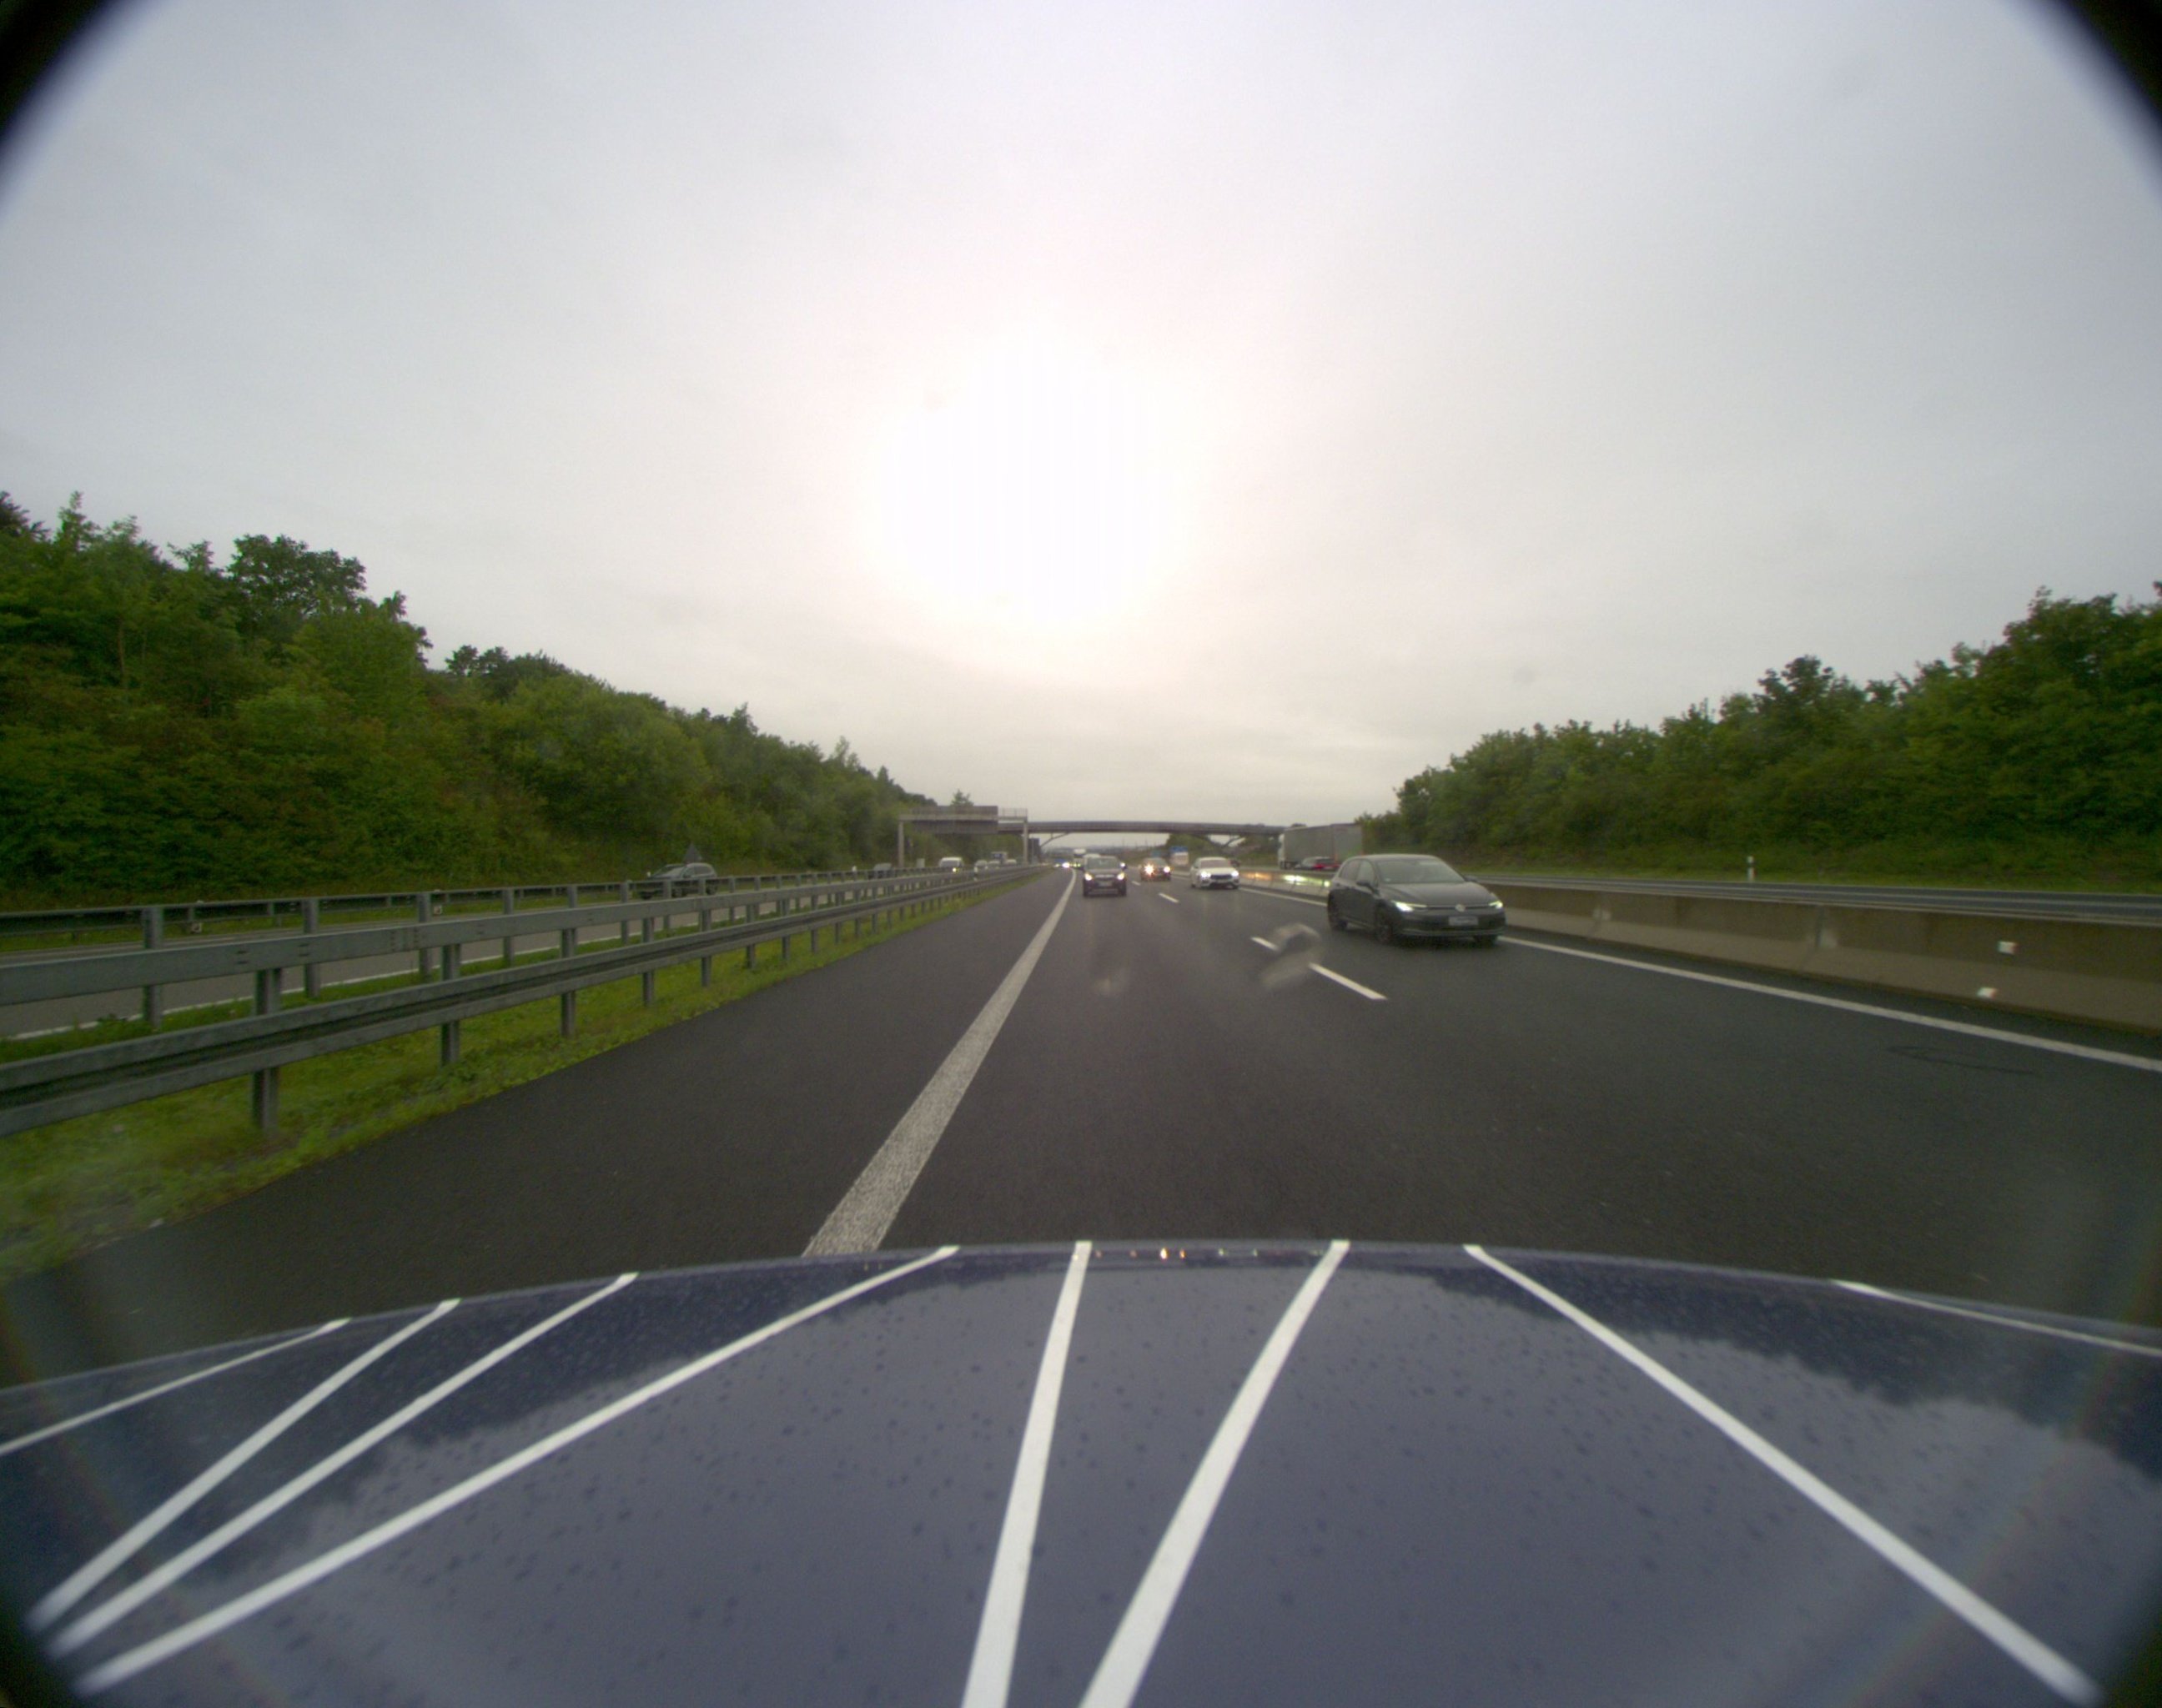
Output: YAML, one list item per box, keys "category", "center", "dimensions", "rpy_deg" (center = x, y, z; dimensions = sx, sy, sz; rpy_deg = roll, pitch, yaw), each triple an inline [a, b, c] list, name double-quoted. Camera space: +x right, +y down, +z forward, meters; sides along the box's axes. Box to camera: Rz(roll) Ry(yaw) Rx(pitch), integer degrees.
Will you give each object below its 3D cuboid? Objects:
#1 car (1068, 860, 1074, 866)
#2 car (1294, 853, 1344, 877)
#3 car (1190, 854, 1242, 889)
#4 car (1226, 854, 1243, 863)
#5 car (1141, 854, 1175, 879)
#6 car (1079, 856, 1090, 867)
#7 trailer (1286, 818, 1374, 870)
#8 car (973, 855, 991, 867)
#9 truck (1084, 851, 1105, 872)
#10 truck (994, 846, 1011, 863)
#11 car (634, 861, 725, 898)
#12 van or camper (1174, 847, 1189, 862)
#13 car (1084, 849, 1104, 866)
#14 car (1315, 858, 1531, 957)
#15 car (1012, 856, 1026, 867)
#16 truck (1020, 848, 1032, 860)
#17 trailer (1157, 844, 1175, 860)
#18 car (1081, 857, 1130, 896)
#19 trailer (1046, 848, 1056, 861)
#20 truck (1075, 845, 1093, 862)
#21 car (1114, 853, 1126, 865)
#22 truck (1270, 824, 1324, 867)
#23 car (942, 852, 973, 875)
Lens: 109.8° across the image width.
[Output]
- category: "car"
  center: [-3.208, 2.899, 244.670]
  dimensions: [1.916, 1.671, 4.001]
  rpy_deg: [-1, 0, 3]
- category: "car"
  center: [15.270, 0.684, 48.985]
  dimensions: [1.905, 1.397, 4.379]
  rpy_deg: [-1, 0, 2]
- category: "car"
  center: [6.262, 0.788, 35.708]
  dimensions: [1.905, 1.497, 4.115]
  rpy_deg: [-1, 0, 3]
- category: "car"
  center: [23.058, 0.610, 114.505]
  dimensions: [1.693, 1.286, 3.923]
  rpy_deg: [-1, 0, 0]
- category: "car"
  center: [5.094, 0.805, 50.862]
  dimensions: [1.905, 1.497, 4.114]
  rpy_deg: [-1, 0, 1]
- category: "car"
  center: [0.617, 1.282, 126.325]
  dimensions: [1.715, 1.724, 4.000]
  rpy_deg: [-1, 0, 1]
- category: "trailer"
  center: [21.524, -0.787, 66.878]
  dimensions: [3.268, 4.059, 13.844]
  rpy_deg: [-1, 0, 0]
- category: "car"
  center: [-14.983, 1.072, 115.369]
  dimensions: [2.013, 1.804, 4.276]
  rpy_deg: [-1, 0, 1]
- category: "truck"
  center: [1.484, 0.822, 85.205]
  dimensions: [2.175, 2.214, 5.642]
  rpy_deg: [-1, 0, 0]
- category: "truck"
  center: [-16.451, 0.044, 159.084]
  dimensions: [2.909, 3.397, 9.280]
  rpy_deg: [-1, 0, -2]
- category: "car"
  center: [-19.532, 1.196, 37.183]
  dimensions: [1.864, 1.573, 4.242]
  rpy_deg: [-1, 0, 6]
- category: "van or camper"
  center: [16.836, 0.113, 127.865]
  dimensions: [1.799, 2.455, 5.547]
  rpy_deg: [-1, 0, 1]
- category: "car"
  center: [1.357, 0.316, 77.931]
  dimensions: [1.825, 1.669, 4.001]
  rpy_deg: [-1, 0, 4]
- category: "car"
  center: [5.718, 0.805, 13.418]
  dimensions: [1.905, 1.397, 4.459]
  rpy_deg: [-1, 0, 2]
- category: "car"
  center: [-10.571, 1.316, 129.537]
  dimensions: [2.013, 1.804, 4.276]
  rpy_deg: [-1, 0, 1]
- category: "truck"
  center: [-16.506, 0.000, 230.437]
  dimensions: [2.909, 3.397, 13.351]
  rpy_deg: [-1, 0, -1]
- category: "trailer"
  center: [21.825, -0.485, 196.309]
  dimensions: [2.797, 4.059, 13.524]
  rpy_deg: [-1, 0, -1]
- category: "car"
  center: [1.090, 0.896, 32.148]
  dimensions: [1.905, 1.497, 4.115]
  rpy_deg: [-1, 0, 3]
- category: "trailer"
  center: [-9.433, 0.094, 239.525]
  dimensions: [2.547, 3.799, 11.330]
  rpy_deg: [-1, 0, 0]
- category: "truck"
  center: [0.484, -0.128, 157.391]
  dimensions: [3.154, 3.332, 13.097]
  rpy_deg: [-1, 0, -2]
- category: "car"
  center: [5.804, 0.749, 113.520]
  dimensions: [1.715, 1.724, 4.000]
  rpy_deg: [-1, 0, 1]
- category: "truck"
  center: [21.578, -0.784, 76.374]
  dimensions: [3.268, 4.059, 7.441]
  rpy_deg: [-1, 0, 0]
- category: "car"
  center: [-10.588, 0.789, 65.412]
  dimensions: [1.864, 1.794, 4.647]
  rpy_deg: [-1, 0, 0]
